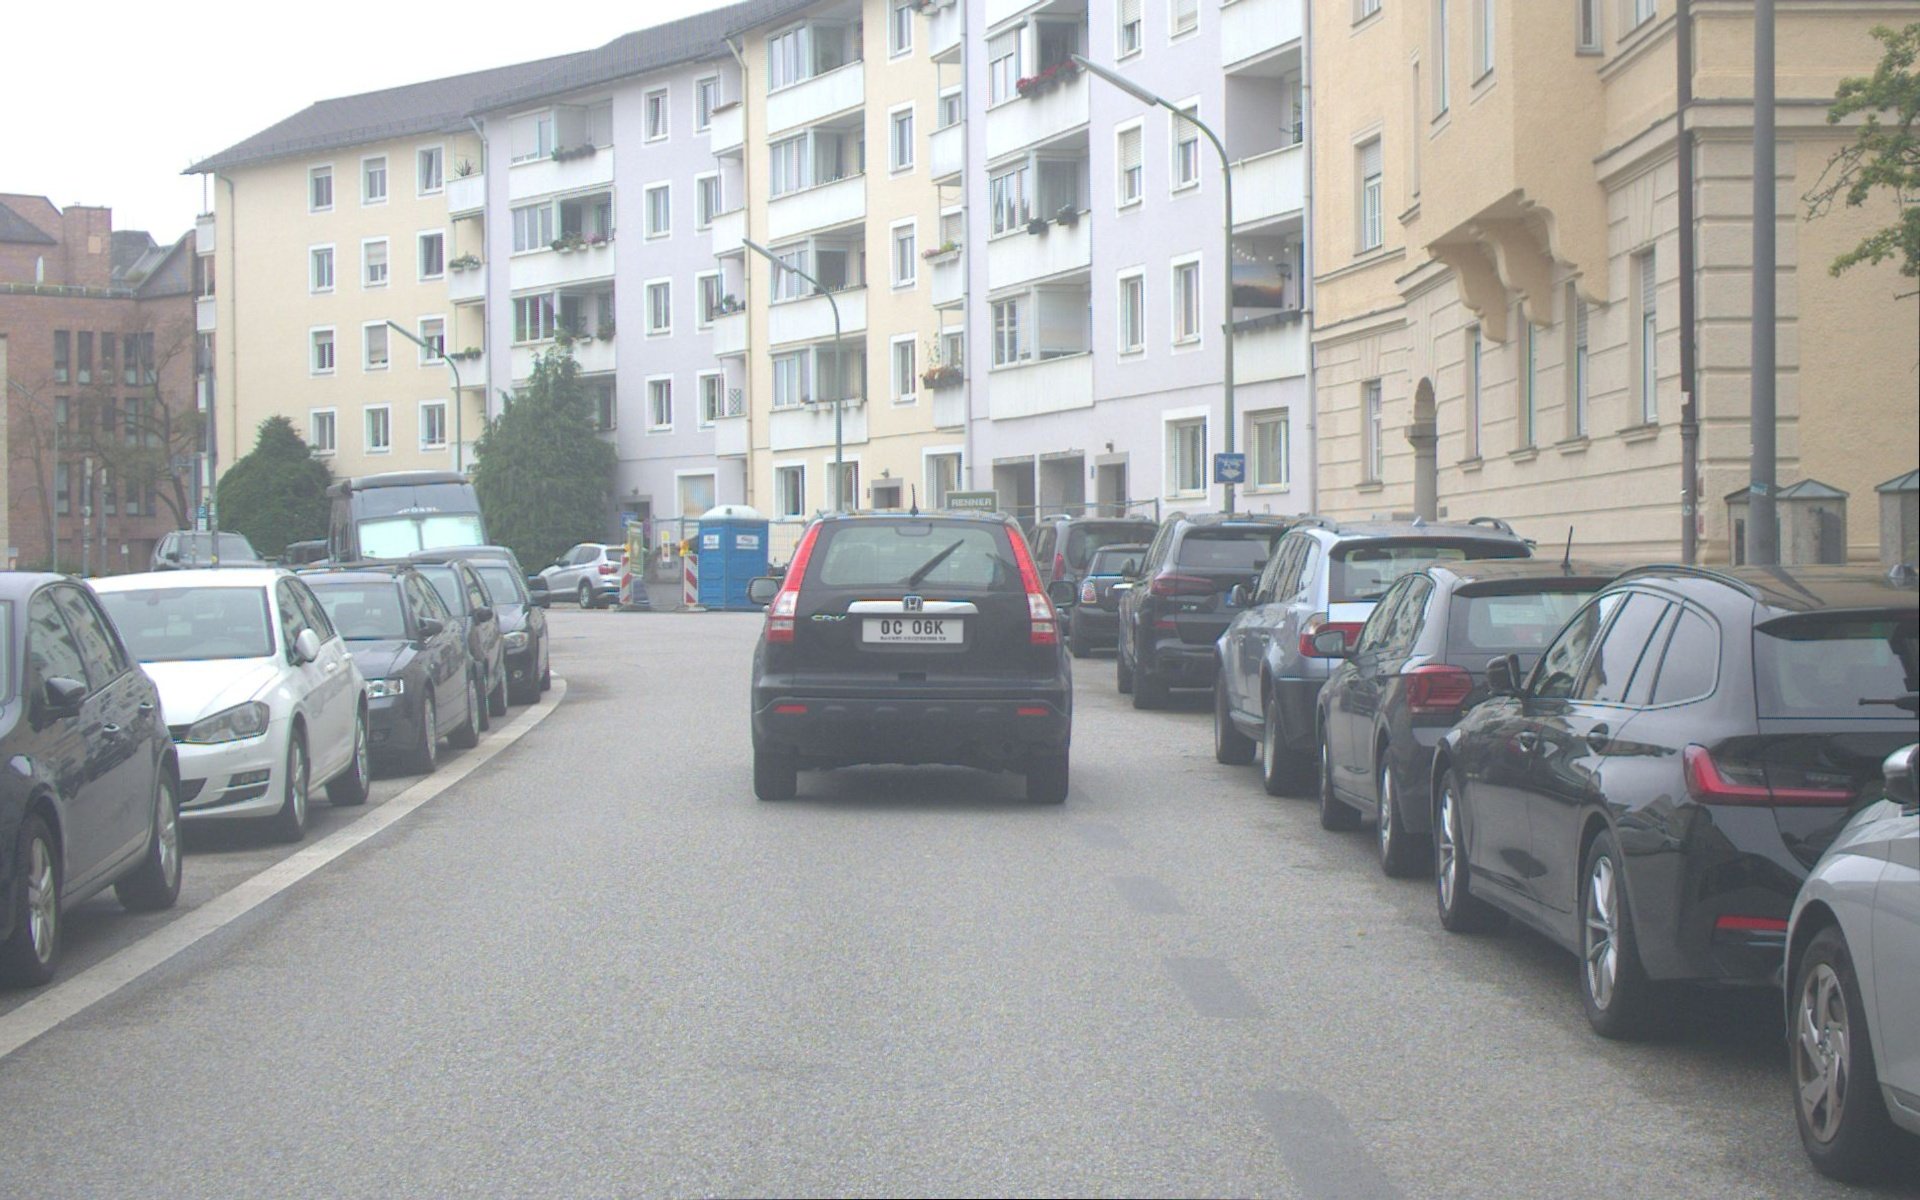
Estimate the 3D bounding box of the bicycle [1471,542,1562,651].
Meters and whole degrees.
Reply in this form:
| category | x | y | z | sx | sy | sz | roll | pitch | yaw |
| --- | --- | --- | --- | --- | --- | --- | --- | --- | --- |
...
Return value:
| category | x | y | z | sx | sy | sz | roll | pitch | yaw |
| --- | --- | --- | --- | --- | --- | --- | --- | --- | --- |
| bicycle | 5.931 | -0.053 | 36.698 | 0.579 | 1.079 | 1.953 | -3 | 1 | -1 |

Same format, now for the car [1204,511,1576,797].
| category | x | y | z | sx | sy | sz | roll | pitch | yaw |
| --- | --- | --- | --- | --- | --- | --- | --- | --- | --- |
| car | 2.626 | 0.273 | 21.945 | 1.722 | 1.628 | 4.458 | 0 | 1 | -1 |

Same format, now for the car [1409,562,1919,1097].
| category | x | y | z | sx | sy | sz | roll | pitch | yaw |
| --- | --- | --- | --- | --- | --- | --- | --- | --- | --- |
| car | 2.710 | 0.597 | 11.541 | 1.679 | 1.422 | 4.392 | 0 | 1 | -2 |

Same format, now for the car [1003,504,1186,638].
| category | x | y | z | sx | sy | sz | roll | pitch | yaw |
| --- | --- | --- | --- | --- | --- | --- | --- | --- | --- |
| car | 1.863 | -0.432 | 48.944 | 1.777 | 1.800 | 4.277 | 1 | 1 | -9 |

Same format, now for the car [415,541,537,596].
| category | x | y | z | sx | sy | sz | roll | pitch | yaw |
| --- | --- | --- | --- | --- | --- | --- | --- | --- | --- |
| car | -13.306 | -0.880 | 94.392 | 1.724 | 1.478 | 4.000 | 0 | 1 | -34 |

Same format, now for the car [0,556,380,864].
| category | x | y | z | sx | sy | sz | roll | pitch | yaw |
| --- | --- | --- | --- | --- | --- | --- | --- | --- | --- |
| car | -4.304 | 0.522 | 19.094 | 1.656 | 1.448 | 4.074 | -2 | 1 | -4 |

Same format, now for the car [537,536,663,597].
| category | x | y | z | sx | sy | sz | roll | pitch | yaw |
| --- | --- | --- | --- | --- | --- | --- | --- | --- | --- |
| car | -8.988 | -0.847 | 85.542 | 1.724 | 1.478 | 4.001 | 0 | 1 | -28 |

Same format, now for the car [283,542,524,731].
| category | x | y | z | sx | sy | sz | roll | pitch | yaw |
| --- | --- | --- | --- | --- | --- | --- | --- | --- | --- |
| car | -4.687 | 0.266 | 29.318 | 1.656 | 1.448 | 3.313 | -2 | 1 | -3 |

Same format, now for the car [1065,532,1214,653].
| category | x | y | z | sx | sy | sz | roll | pitch | yaw |
| --- | --- | --- | --- | --- | --- | --- | --- | --- | --- |
| car | 2.247 | -0.123 | 43.869 | 1.708 | 1.442 | 3.830 | 1 | 1 | 1 |

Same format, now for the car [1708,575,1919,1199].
| category | x | y | z | sx | sy | sz | roll | pitch | yaw |
| --- | --- | --- | --- | --- | --- | --- | --- | --- | --- |
| car | 2.878 | 0.677 | 6.961 | 1.679 | 1.422 | 4.167 | 0 | 1 | -2 |

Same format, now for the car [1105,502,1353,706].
| category | x | y | z | sx | sy | sz | roll | pitch | yaw |
| --- | --- | --- | --- | --- | --- | --- | --- | --- | --- |
| car | 2.405 | -0.003 | 31.874 | 1.869 | 1.711 | 4.866 | 1 | 1 | 0 |

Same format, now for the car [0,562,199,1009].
| category | x | y | z | sx | sy | sz | roll | pitch | yaw |
| --- | --- | --- | --- | --- | --- | --- | --- | --- | --- |
| car | -4.127 | 0.625 | 13.299 | 1.656 | 1.448 | 3.975 | -2 | 1 | -4 |

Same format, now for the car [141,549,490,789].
| category | x | y | z | sx | sy | sz | roll | pitch | yaw |
| --- | --- | --- | --- | --- | --- | --- | --- | --- | --- |
| car | -4.436 | 0.409 | 24.260 | 1.755 | 1.448 | 4.396 | -2 | 1 | -2 |

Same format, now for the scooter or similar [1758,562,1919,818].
| category | x | y | z | sx | sy | sz | roll | pitch | yaw |
| --- | --- | --- | --- | --- | --- | --- | --- | --- | --- |
| scooter or similar | 4.169 | 0.406 | 16.196 | 0.484 | 1.160 | 1.172 | 0 | 0 | -3 |

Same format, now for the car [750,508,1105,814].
| category | x | y | z | sx | sy | sz | roll | pitch | yaw |
| --- | --- | --- | --- | --- | --- | --- | --- | --- | --- |
| car | -0.292 | 0.296 | 20.605 | 1.890 | 1.642 | 3.992 | 0 | 1 | -4 |

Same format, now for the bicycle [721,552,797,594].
| category | x | y | z | sx | sy | sz | roll | pitch | yaw |
| --- | --- | --- | --- | --- | --- | --- | --- | --- | --- |
| bicycle | -5.172 | -0.698 | 88.464 | 1.865 | 1.087 | 0.566 | -1 | 1 | -22 |

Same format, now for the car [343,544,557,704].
| category | x | y | z | sx | sy | sz | roll | pitch | yaw |
| --- | --- | --- | --- | --- | --- | --- | --- | --- | --- |
| car | -4.995 | 0.186 | 34.145 | 1.799 | 1.401 | 4.456 | -2 | 1 | -5 |

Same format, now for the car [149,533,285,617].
| category | x | y | z | sx | sy | sz | roll | pitch | yaw |
| --- | --- | --- | --- | --- | --- | --- | --- | --- | --- |
| car | -15.647 | -0.532 | 72.275 | 1.679 | 1.701 | 4.514 | -1 | 1 | -27 |

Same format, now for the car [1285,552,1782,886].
| category | x | y | z | sx | sy | sz | roll | pitch | yaw |
| --- | --- | --- | --- | --- | --- | --- | --- | --- | --- |
| car | 2.670 | 0.485 | 16.882 | 1.679 | 1.422 | 4.087 | 0 | 1 | -1 |

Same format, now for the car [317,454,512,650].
| category | x | y | z | sx | sy | sz | roll | pitch | yaw |
| --- | --- | --- | --- | --- | --- | --- | --- | --- | --- |
| car | -8.059 | -0.721 | 50.308 | 2.163 | 2.632 | 6.019 | -2 | 2 | -14 |
